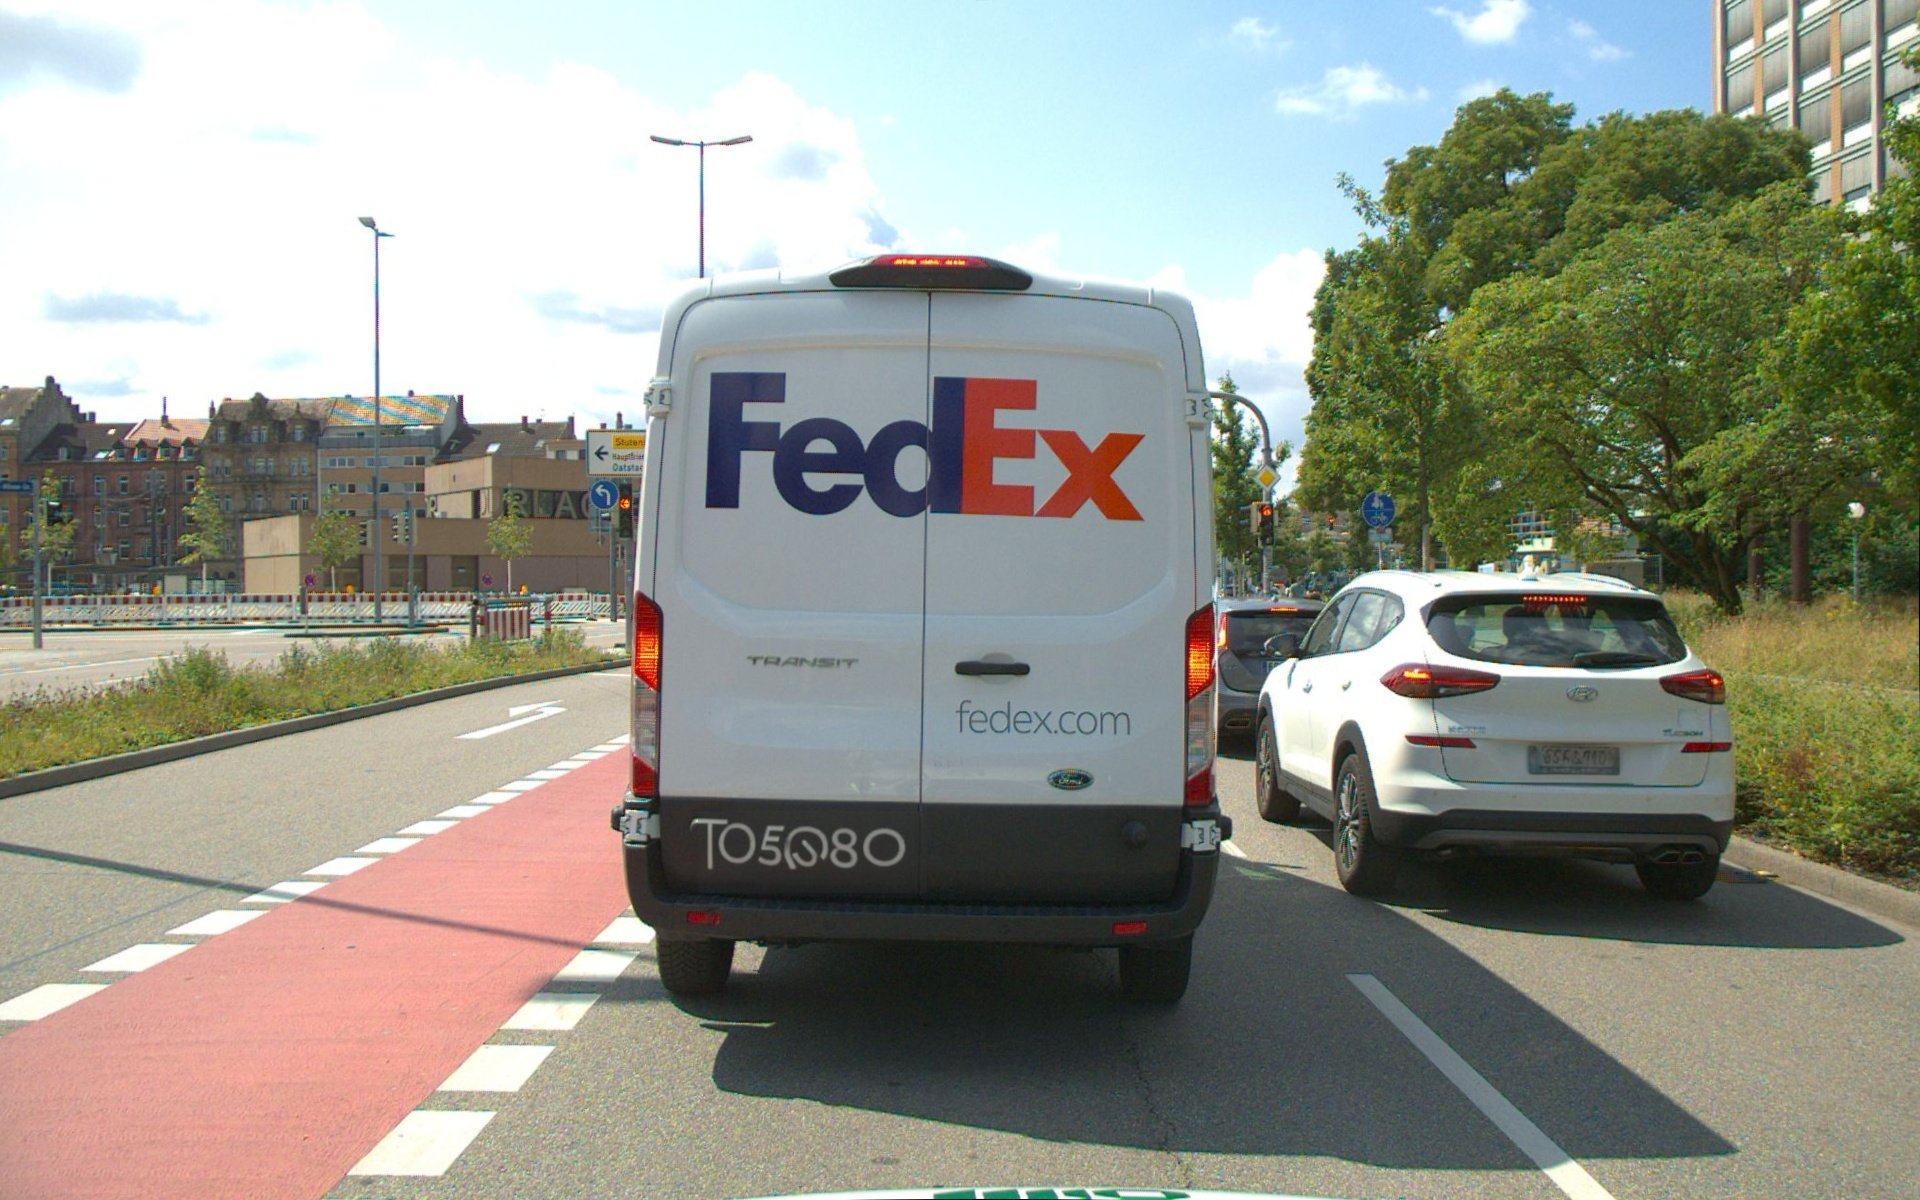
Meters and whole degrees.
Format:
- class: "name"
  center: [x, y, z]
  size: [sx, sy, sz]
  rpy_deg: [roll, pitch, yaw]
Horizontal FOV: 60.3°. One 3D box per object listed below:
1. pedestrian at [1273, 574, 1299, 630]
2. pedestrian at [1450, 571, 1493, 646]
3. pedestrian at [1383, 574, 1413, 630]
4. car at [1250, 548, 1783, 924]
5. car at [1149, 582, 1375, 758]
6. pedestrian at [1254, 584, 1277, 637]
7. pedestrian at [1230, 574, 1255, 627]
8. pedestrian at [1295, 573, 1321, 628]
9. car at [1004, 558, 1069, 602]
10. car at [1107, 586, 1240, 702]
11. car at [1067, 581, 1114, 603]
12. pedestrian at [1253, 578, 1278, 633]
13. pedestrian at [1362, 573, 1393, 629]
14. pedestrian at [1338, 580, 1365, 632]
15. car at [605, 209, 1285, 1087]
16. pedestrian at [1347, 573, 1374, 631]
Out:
- class: "pedestrian"
  center: [11.005, 0.072, 55.873]
  size: [0.743, 1.882, 0.816]
  rpy_deg: [0, 0, 1]
- class: "pedestrian"
  center: [11.764, 0.190, 38.050]
  size: [0.743, 1.684, 0.816]
  rpy_deg: [0, 0, 3]
- class: "pedestrian"
  center: [14.996, 0.056, 56.626]
  size: [0.745, 1.882, 0.814]
  rpy_deg: [0, 0, -9]
- class: "car"
  center: [2.890, 0.600, 9.535]
  size: [1.777, 1.708, 3.974]
  rpy_deg: [0, 1, 1]
- class: "car"
  center: [2.945, 0.616, 16.837]
  size: [1.656, 1.576, 3.721]
  rpy_deg: [0, 1, 1]
- class: "pedestrian"
  center: [10.942, 0.357, 59.197]
  size: [0.742, 1.882, 0.817]
  rpy_deg: [0, 0, 14]
- class: "pedestrian"
  center: [10.268, 0.009, 60.038]
  size: [0.796, 1.882, 0.761]
  rpy_deg: [0, 0, 2]
- class: "pedestrian"
  center: [11.874, 0.013, 56.514]
  size: [0.743, 1.882, 0.816]
  rpy_deg: [0, 0, 3]
- class: "car"
  center: [5.218, -1.308, 111.317]
  size: [2.436, 2.765, 7.086]
  rpy_deg: [1, 0, 19]
- class: "car"
  center: [2.946, 0.564, 23.394]
  size: [1.468, 1.489, 3.474]
  rpy_deg: [0, 1, 1]
- class: "car"
  center: [12.087, -0.738, 153.432]
  size: [4.247, 1.905, 1.927]
  rpy_deg: [1, 0, 4]
- class: "pedestrian"
  center: [10.503, 0.172, 56.835]
  size: [0.743, 1.882, 0.816]
  rpy_deg: [0, 0, 18]
- class: "pedestrian"
  center: [14.187, 0.043, 56.206]
  size: [0.745, 1.882, 0.814]
  rpy_deg: [-1, 0, -11]
- class: "pedestrian"
  center: [14.088, 0.208, 59.496]
  size: [0.743, 1.882, 0.816]
  rpy_deg: [-1, 0, -3]
- class: "car"
  center: [-0.015, 0.121, 7.183]
  size: [2.030, 2.626, 4.428]
  rpy_deg: [0, 1, 1]
- class: "pedestrian"
  center: [12.620, 0.054, 52.099]
  size: [0.742, 1.820, 0.817]
  rpy_deg: [0, 0, 7]
